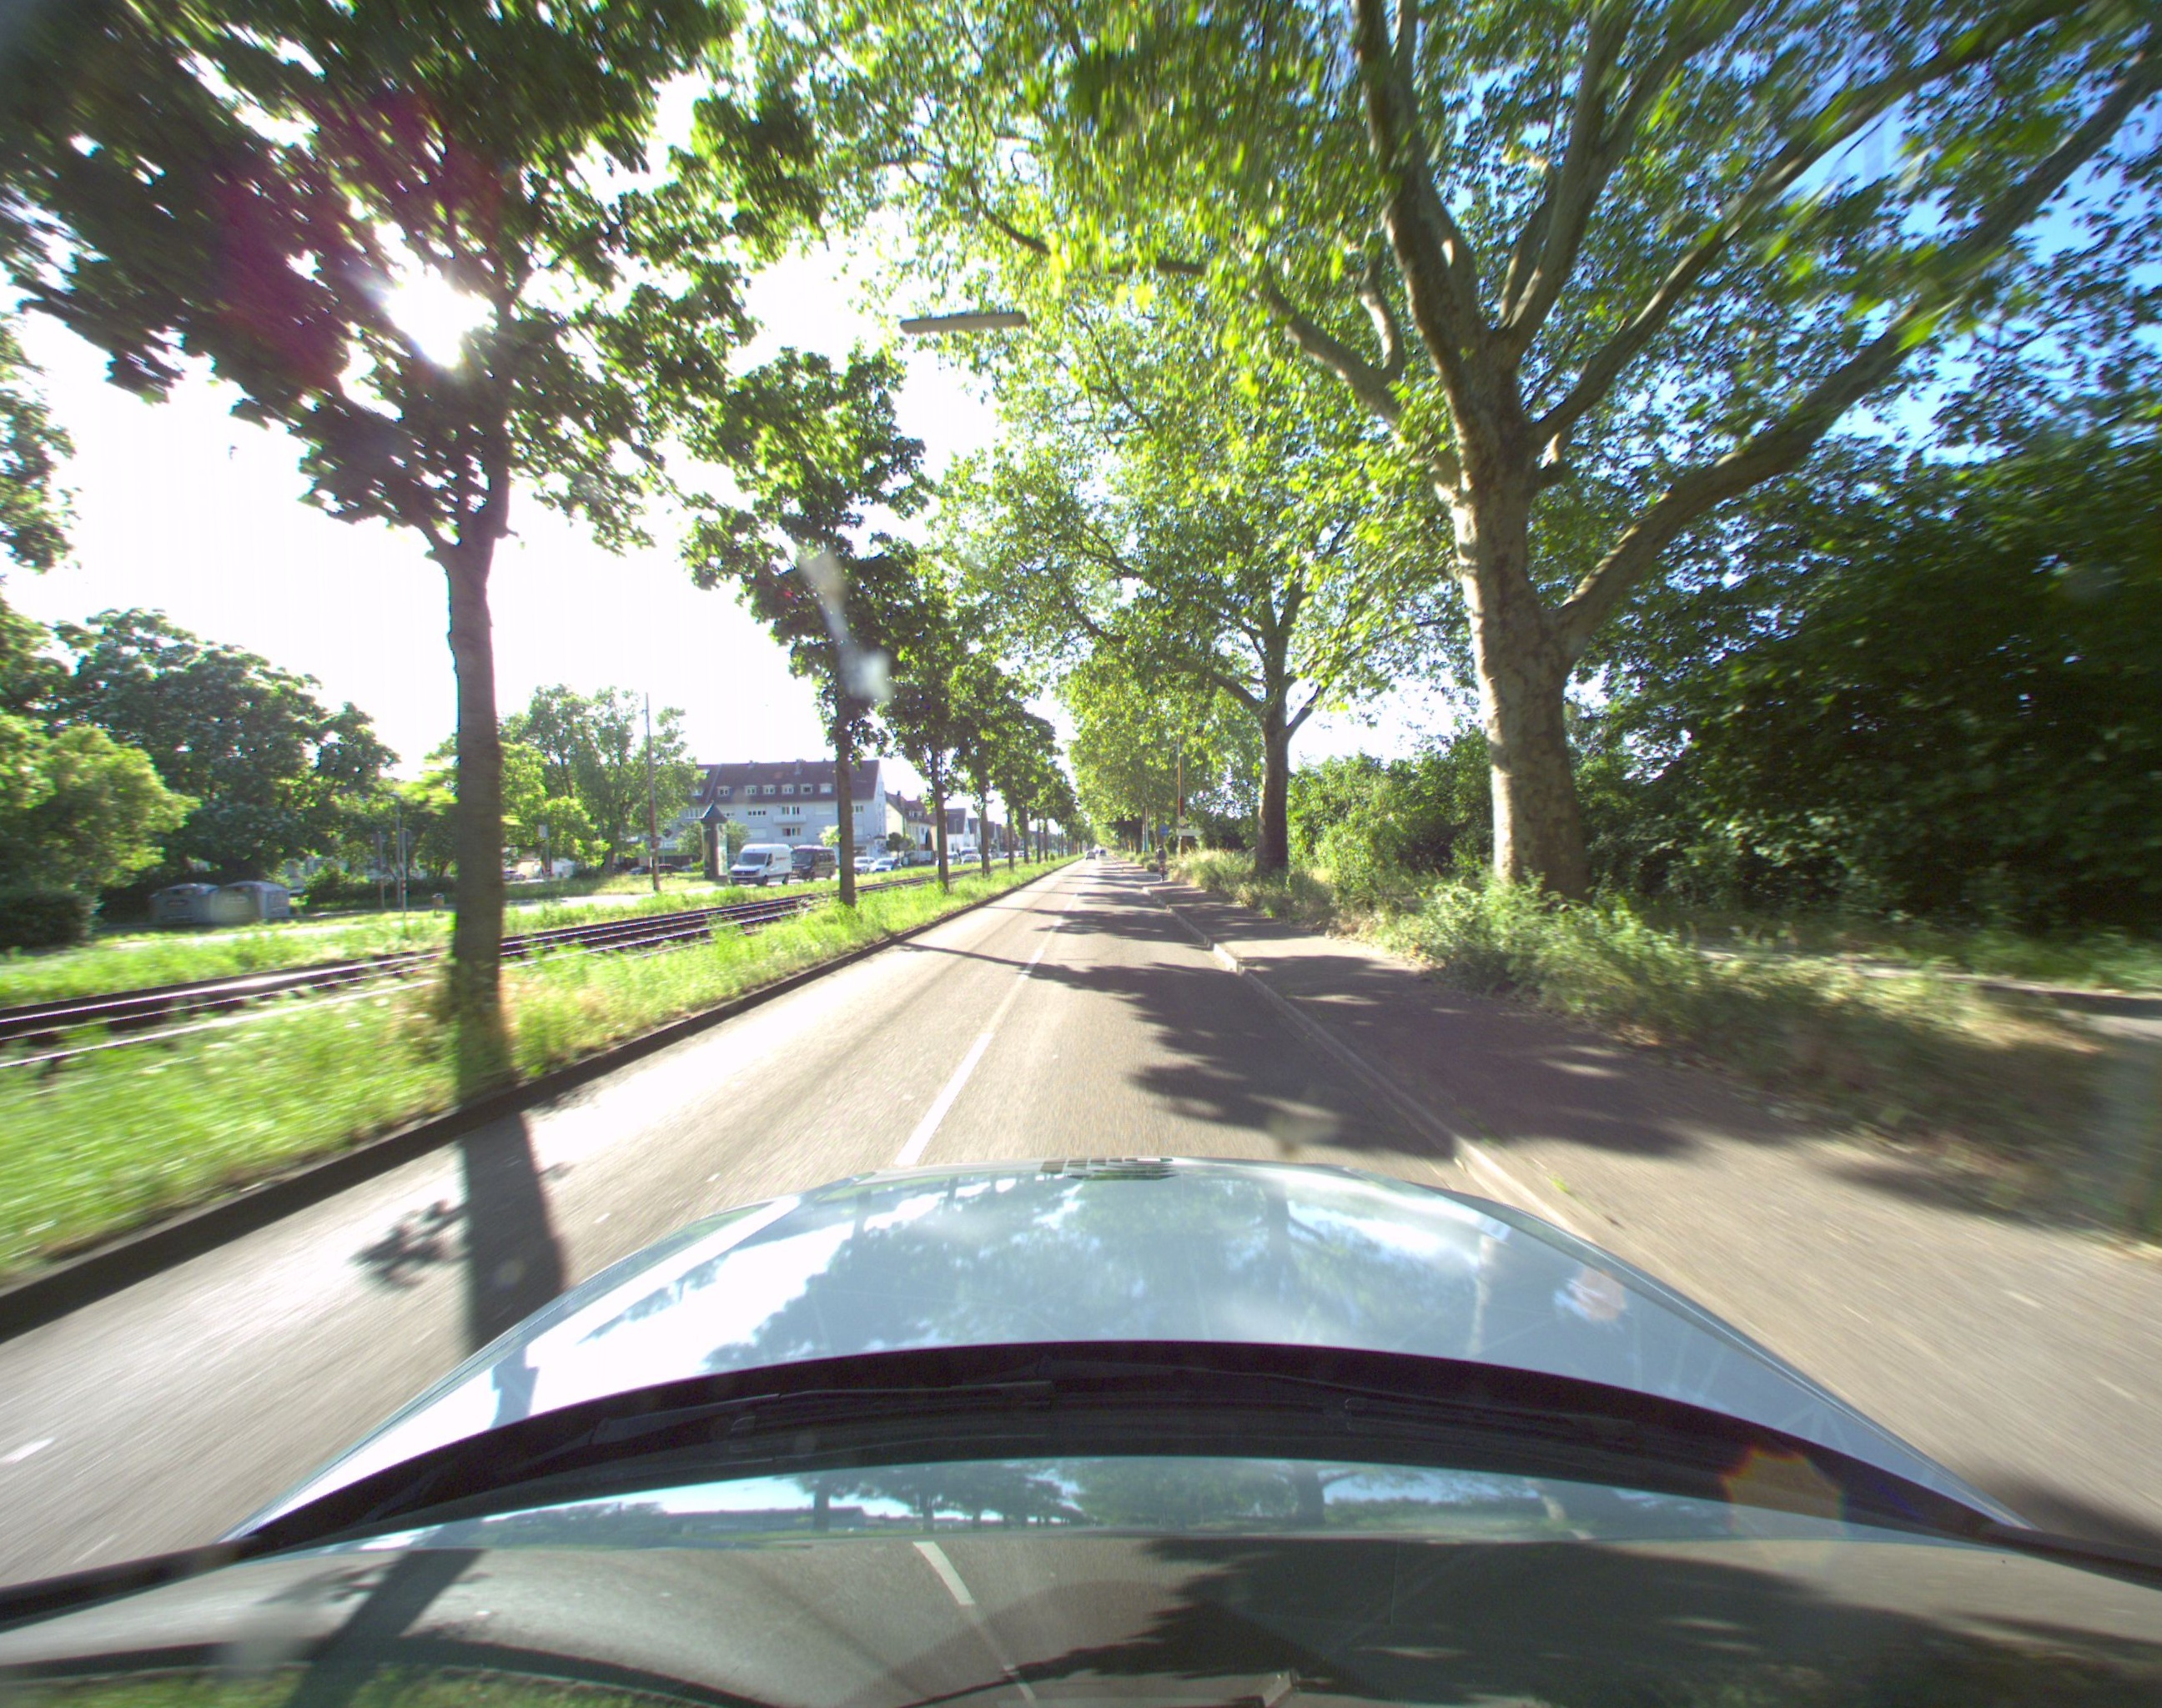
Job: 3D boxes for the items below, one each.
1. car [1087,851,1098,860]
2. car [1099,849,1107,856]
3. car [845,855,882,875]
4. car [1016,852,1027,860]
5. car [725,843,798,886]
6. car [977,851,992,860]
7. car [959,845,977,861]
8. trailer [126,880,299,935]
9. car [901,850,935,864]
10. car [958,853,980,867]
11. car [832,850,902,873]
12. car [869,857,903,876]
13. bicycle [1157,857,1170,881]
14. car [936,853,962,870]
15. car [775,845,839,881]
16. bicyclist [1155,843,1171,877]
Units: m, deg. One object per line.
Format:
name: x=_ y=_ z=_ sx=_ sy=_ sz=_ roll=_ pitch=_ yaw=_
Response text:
car: x=1.812 y=0.245 z=132.276 sx=1.732 sy=1.401 sz=3.277 roll=0 pitch=0 yaw=1
car: x=5.167 y=-0.280 z=190.198 sx=1.754 sy=1.513 sz=3.278 roll=0 pitch=0 yaw=2
car: x=-19.123 y=0.949 z=71.743 sx=1.816 sy=1.607 sz=4.775 roll=0 pitch=0 yaw=2
car: x=-11.943 y=0.382 z=163.467 sx=1.670 sy=1.409 sz=4.001 roll=-2 pitch=0 yaw=1
car: x=-19.755 y=0.605 z=50.657 sx=1.994 sy=2.496 sz=6.138 roll=0 pitch=0 yaw=1
car: x=-17.705 y=0.232 z=149.600 sx=1.986 sy=1.581 sz=4.500 roll=0 pitch=0 yaw=2
car: x=-18.192 y=-0.165 z=131.397 sx=1.986 sy=2.459 sz=6.675 roll=0 pitch=0 yaw=1
trailer: x=-31.003 y=1.863 z=29.216 sx=3.759 sy=1.504 sz=1.743 roll=-5 pitch=1 yaw=-19
car: x=-23.290 y=0.460 z=116.591 sx=4.617 sy=1.945 sz=1.994 roll=0 pitch=0 yaw=-10
car: x=-13.792 y=0.710 z=100.857 sx=1.985 sy=1.531 sz=3.753 roll=-2 pitch=0 yaw=3
car: x=-23.528 y=0.816 z=89.739 sx=7.050 sy=2.507 sz=2.328 roll=0 pitch=0 yaw=-4
car: x=-14.627 y=0.939 z=61.316 sx=1.551 sy=1.395 sz=3.821 roll=0 pitch=0 yaw=1
bicycle: x=4.013 y=0.720 z=39.815 sx=0.438 sy=1.153 sz=1.823 roll=-2 pitch=0 yaw=1
car: x=-13.860 y=0.755 z=85.795 sx=1.804 sy=1.744 sz=4.983 roll=0 pitch=0 yaw=2
car: x=-19.439 y=0.637 z=58.122 sx=2.174 sy=2.376 sz=6.467 roll=0 pitch=0 yaw=2
bicyclist: x=4.001 y=0.272 z=39.812 sx=0.611 sy=1.628 sz=0.909 roll=-2 pitch=0 yaw=1
